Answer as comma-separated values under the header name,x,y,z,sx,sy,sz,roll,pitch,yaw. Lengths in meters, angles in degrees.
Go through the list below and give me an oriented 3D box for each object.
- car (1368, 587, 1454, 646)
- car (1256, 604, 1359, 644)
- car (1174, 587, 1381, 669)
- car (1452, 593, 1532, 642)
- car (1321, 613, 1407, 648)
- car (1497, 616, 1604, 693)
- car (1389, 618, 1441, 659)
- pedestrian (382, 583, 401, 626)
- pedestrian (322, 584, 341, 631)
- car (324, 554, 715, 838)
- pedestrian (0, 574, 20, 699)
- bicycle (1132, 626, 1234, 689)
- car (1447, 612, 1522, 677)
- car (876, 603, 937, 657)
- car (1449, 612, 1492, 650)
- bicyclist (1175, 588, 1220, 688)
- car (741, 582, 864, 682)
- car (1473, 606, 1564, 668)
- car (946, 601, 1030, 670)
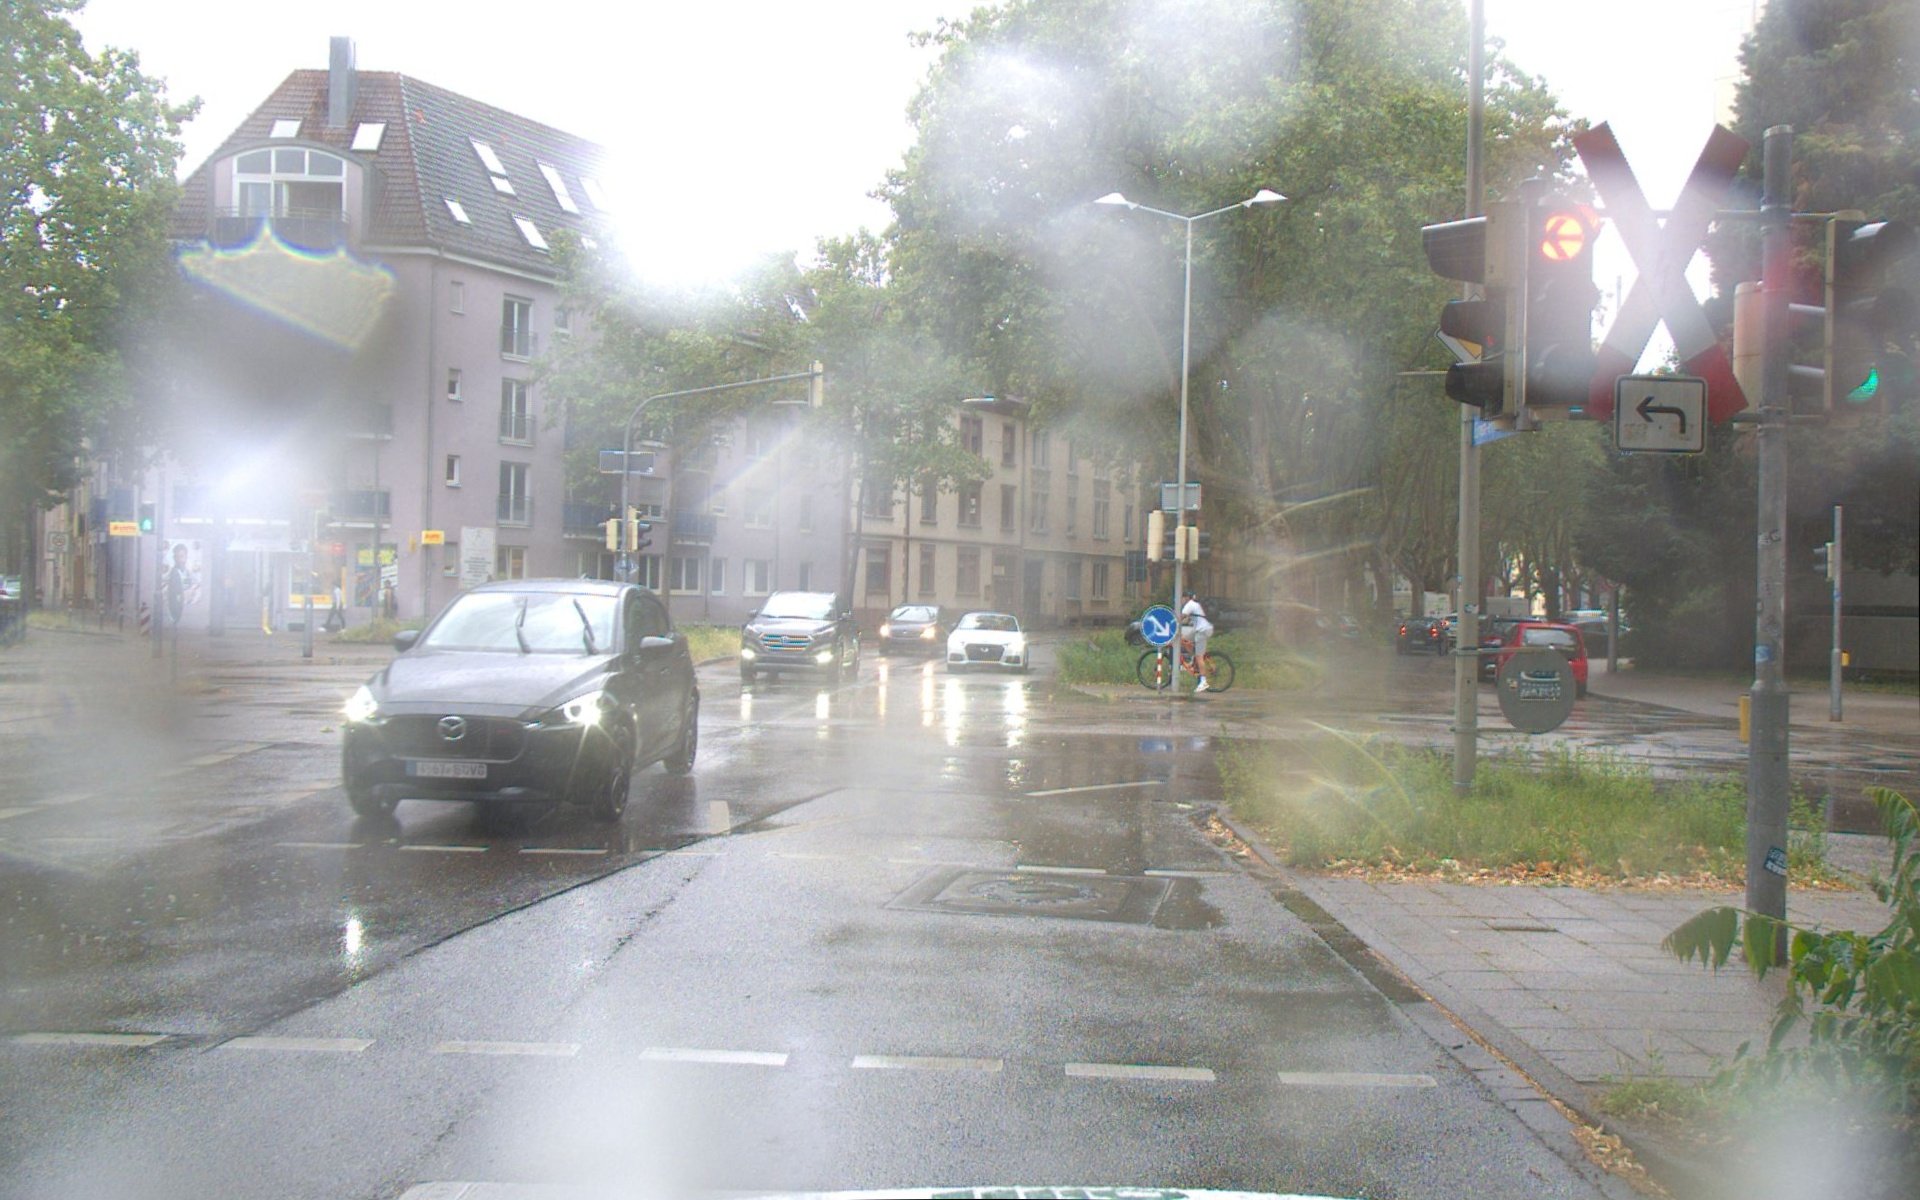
name,x,y,z,sx,sy,sz,roll,pitch,yaw
car,23.957,0.851,88.076,2.005,2.999,4.742,1,0,-21
car,13.784,0.933,65.637,3.902,1.512,2.002,1,0,12
car,6.287,0.534,32.799,3.902,1.512,2.002,1,0,12
car,33.672,1.090,104.819,1.974,3.000,4.720,1,0,-31
car,19.264,1.444,78.933,3.902,1.574,2.002,1,0,12
car,13.053,1.161,36.742,1.754,1.524,4.003,1,0,13
car,17.578,1.458,63.849,1.646,1.500,3.663,1,0,20
pedestrian,-17.915,0.139,52.111,0.435,1.353,0.561,1,-1,-5
pedestrian,-19.748,0.232,51.955,0.436,1.483,0.560,1,-1,-10
car,-2.851,0.547,11.662,1.716,1.619,4.233,1,0,-2
pedestrian,-12.333,0.451,20.704,0.736,1.560,0.789,1,-1,-12
bicycle,4.100,1.048,30.453,1.833,1.100,0.657,1,0,7
car,15.205,1.258,48.100,1.745,1.757,4.003,1,0,13
car,-1.551,0.861,48.236,1.679,1.485,3.747,1,0,-1
car,23.932,1.428,77.492,1.738,1.707,4.001,1,0,20
bicyclist,4.364,0.693,30.426,0.778,1.817,0.697,1,-1,7
car,-2.909,0.540,31.501,1.766,1.712,4.604,1,1,1
car,13.899,0.876,41.312,1.745,1.371,3.932,2,1,13
car,0.670,0.795,39.108,1.845,1.461,4.001,1,0,1
